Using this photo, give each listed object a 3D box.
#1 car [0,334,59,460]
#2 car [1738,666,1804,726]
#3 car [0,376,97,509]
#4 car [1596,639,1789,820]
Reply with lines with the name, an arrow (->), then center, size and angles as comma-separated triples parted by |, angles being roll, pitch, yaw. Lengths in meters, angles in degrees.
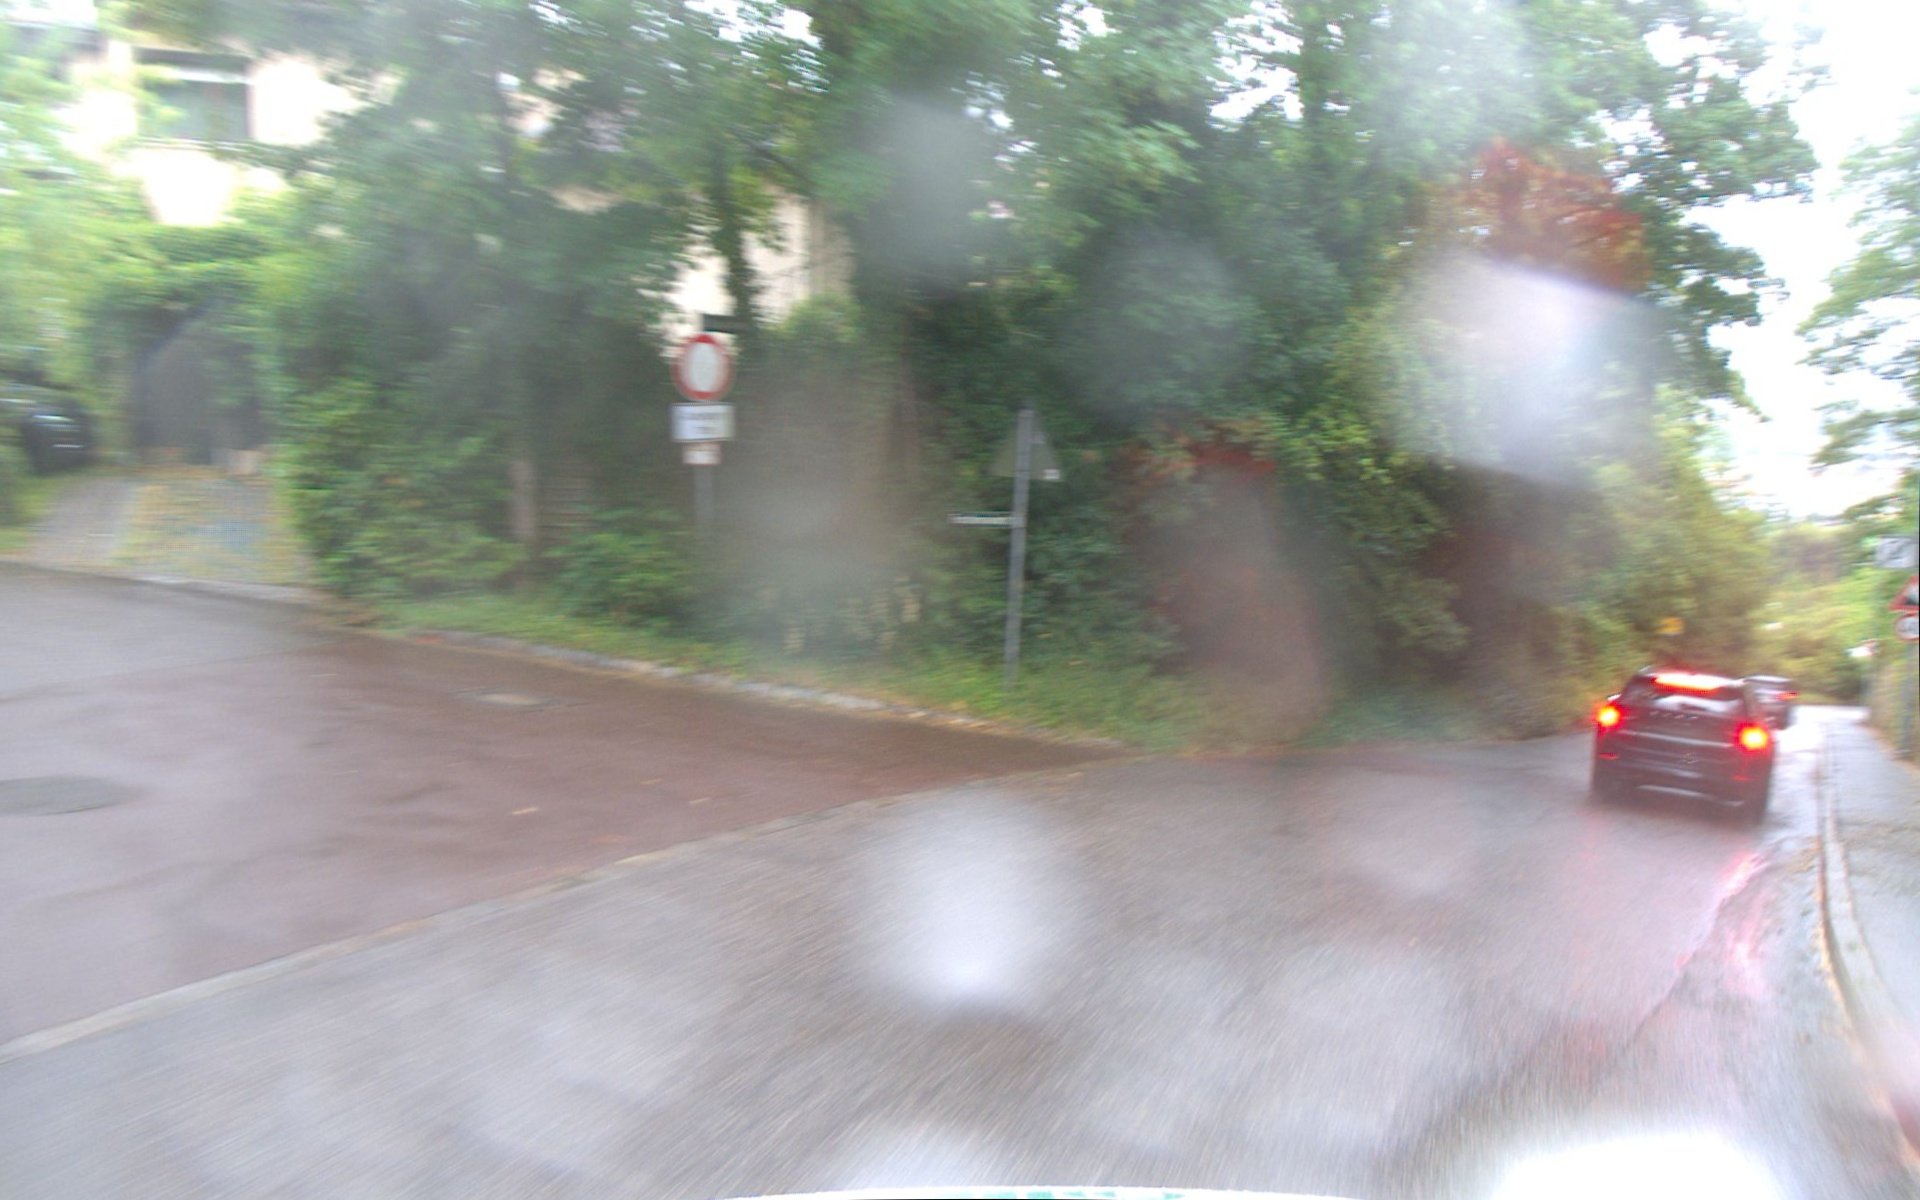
car -> -14.986, -2.944, 23.735 | 3.350, 1.598, 1.587 | -2, 15, -23
car -> 28.566, 3.348, 58.273 | 1.828, 1.772, 3.995 | 8, 1, 26
car -> -12.530, -1.874, 19.585 | 3.937, 1.439, 1.688 | -4, 12, -25
car -> 8.298, 1.335, 18.562 | 1.667, 1.475, 3.996 | 5, 4, 27
